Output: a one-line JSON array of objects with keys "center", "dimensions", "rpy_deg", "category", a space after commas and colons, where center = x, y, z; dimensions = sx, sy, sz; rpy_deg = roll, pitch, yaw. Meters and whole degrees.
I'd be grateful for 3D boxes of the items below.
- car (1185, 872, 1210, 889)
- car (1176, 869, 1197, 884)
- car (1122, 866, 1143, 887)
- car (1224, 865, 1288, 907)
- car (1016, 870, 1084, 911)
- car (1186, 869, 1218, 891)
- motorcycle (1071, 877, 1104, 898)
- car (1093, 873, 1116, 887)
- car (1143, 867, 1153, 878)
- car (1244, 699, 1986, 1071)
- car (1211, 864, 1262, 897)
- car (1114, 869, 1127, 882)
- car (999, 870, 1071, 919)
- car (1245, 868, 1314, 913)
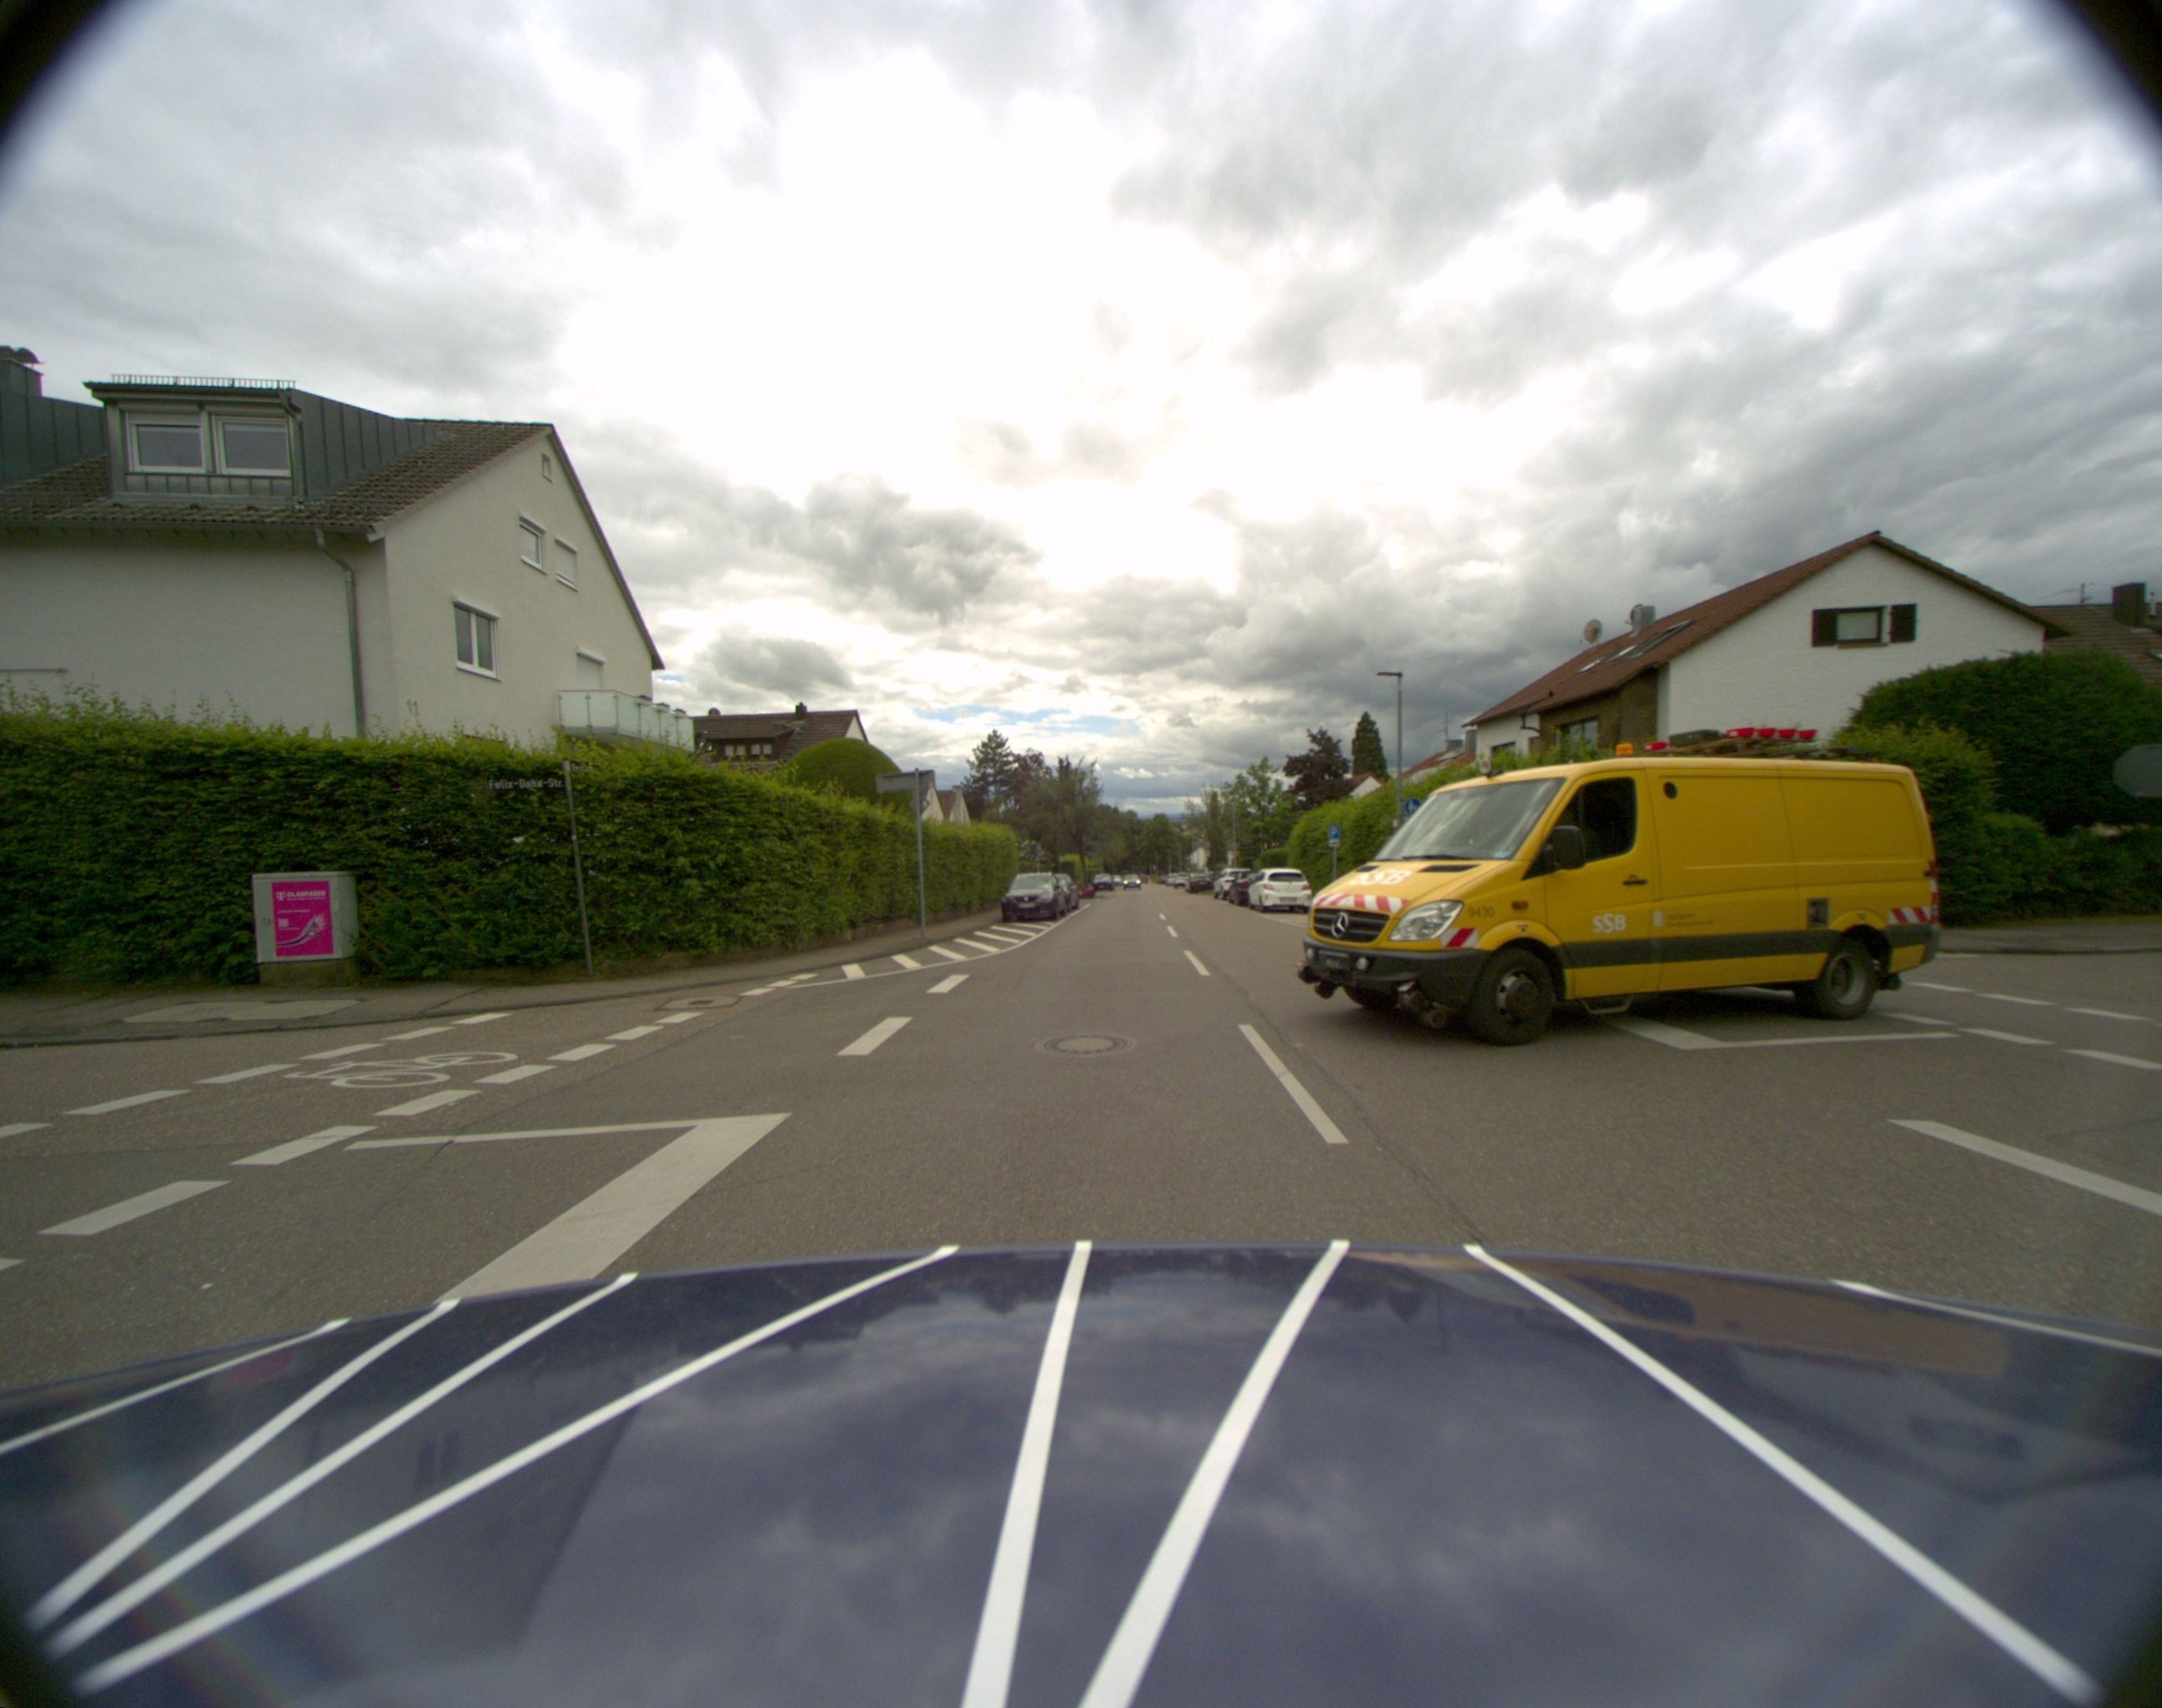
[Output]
[{"center": [9.428, 2.130, 61.661], "dimensions": [1.725, 1.368, 4.002], "rpy_deg": [-1, -1, 4], "category": "car"}, {"center": [11.021, 2.350, 79.823], "dimensions": [1.935, 1.521, 4.002], "rpy_deg": [0, -1, 4], "category": "car"}, {"center": [5.186, 2.212, 76.713], "dimensions": [1.998, 2.001, 4.002], "rpy_deg": [-3, -1, 4], "category": "car"}, {"center": [7.055, 1.245, 31.032], "dimensions": [1.786, 1.481, 4.741], "rpy_deg": [2, 0, 4], "category": "car"}, {"center": [-1.142, 1.385, 30.469], "dimensions": [1.927, 1.485, 5.212], "rpy_deg": [-1, -1, 7], "category": "car"}, {"center": [8.975, 1.917, 56.619], "dimensions": [1.944, 1.540, 4.008], "rpy_deg": [-1, -1, 4], "category": "car"}, {"center": [0.435, 2.135, 48.480], "dimensions": [1.941, 1.127, 0.659], "rpy_deg": [-5, 0, -23], "category": "motorcycle"}, {"center": [2.277, 2.443, 72.609], "dimensions": [1.998, 1.221, 4.002], "rpy_deg": [-1, -1, 4], "category": "car"}, {"center": [12.610, 3.442, 143.070], "dimensions": [1.871, 2.001, 4.002], "rpy_deg": [-3, -1, 4], "category": "car"}, {"center": [4.903, 0.231, 7.222], "dimensions": [6.147, 2.585, 2.365], "rpy_deg": [0, -1, -15], "category": "car"}, {"center": [7.541, 1.277, 37.220], "dimensions": [1.890, 1.481, 4.344], "rpy_deg": [-1, -1, 4], "category": "car"}, {"center": [6.261, 3.394, 120.092], "dimensions": [1.746, 2.001, 4.002], "rpy_deg": [-3, -1, 5], "category": "car"}, {"center": [-1.421, 1.263, 25.043], "dimensions": [1.794, 1.479, 4.381], "rpy_deg": [-1, -1, 4], "category": "car"}, {"center": [6.750, 1.199, 26.148], "dimensions": [1.693, 1.411, 3.581], "rpy_deg": [1, -1, 5], "category": "car"}]
